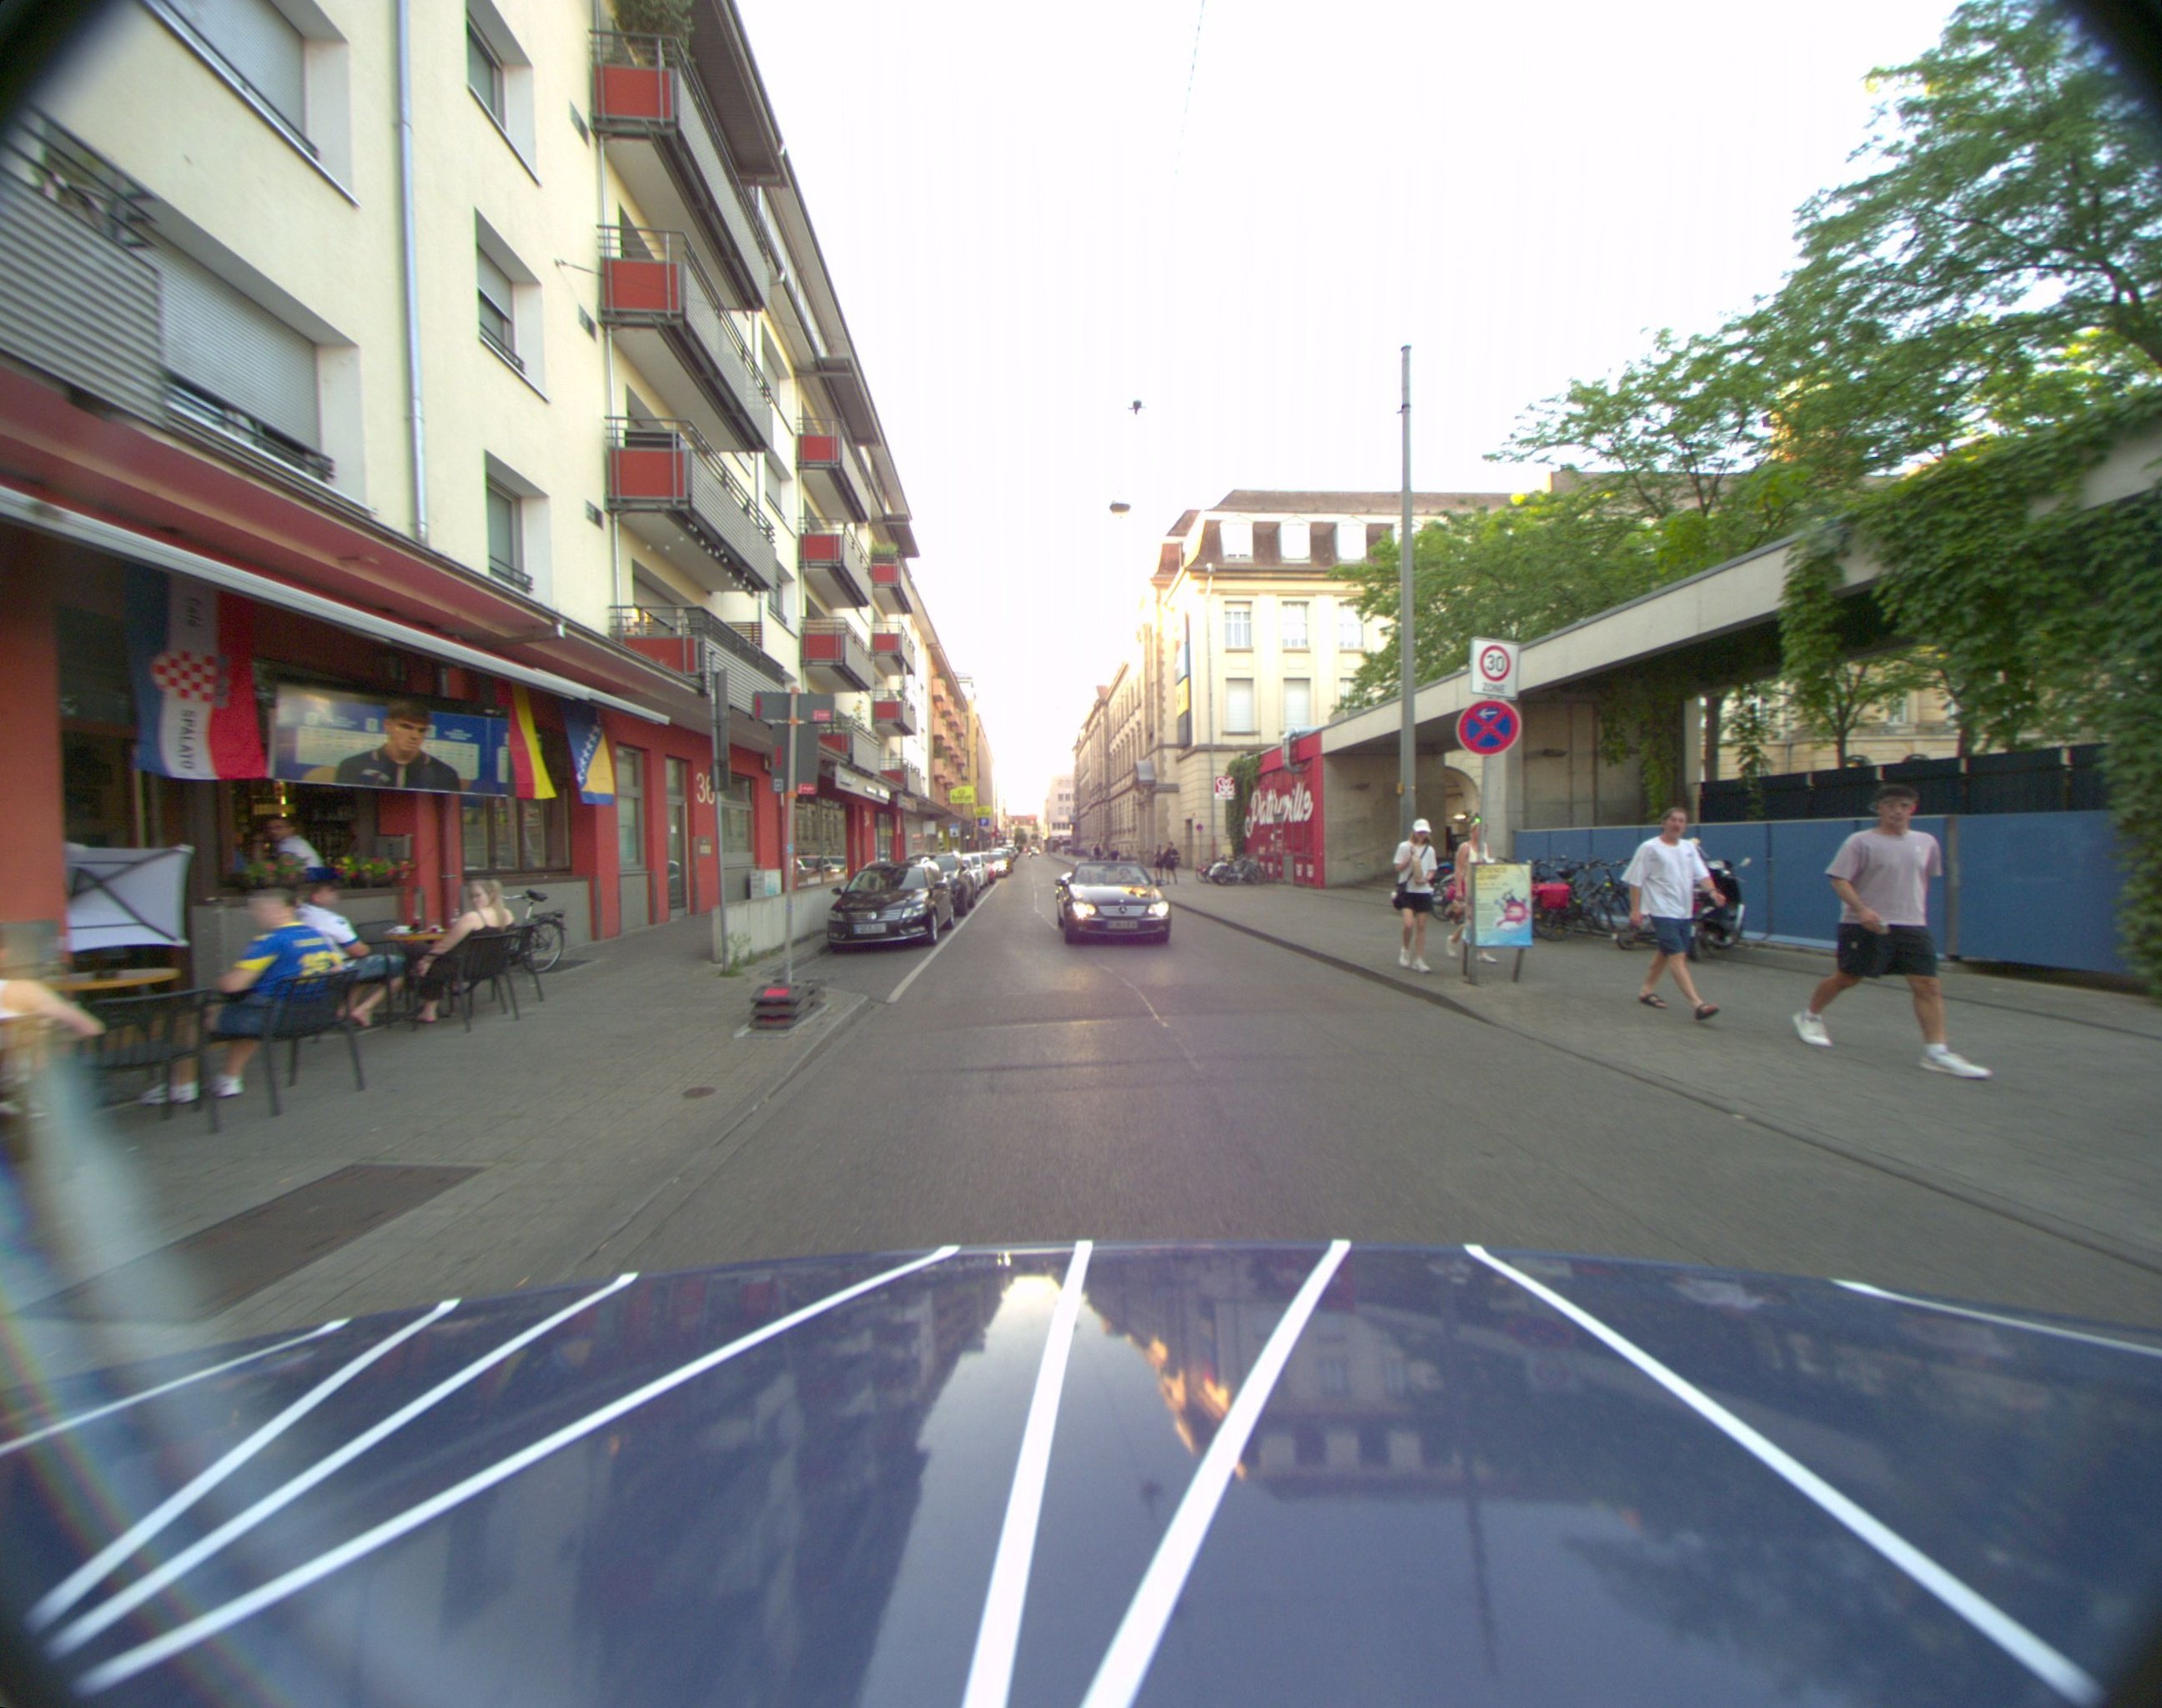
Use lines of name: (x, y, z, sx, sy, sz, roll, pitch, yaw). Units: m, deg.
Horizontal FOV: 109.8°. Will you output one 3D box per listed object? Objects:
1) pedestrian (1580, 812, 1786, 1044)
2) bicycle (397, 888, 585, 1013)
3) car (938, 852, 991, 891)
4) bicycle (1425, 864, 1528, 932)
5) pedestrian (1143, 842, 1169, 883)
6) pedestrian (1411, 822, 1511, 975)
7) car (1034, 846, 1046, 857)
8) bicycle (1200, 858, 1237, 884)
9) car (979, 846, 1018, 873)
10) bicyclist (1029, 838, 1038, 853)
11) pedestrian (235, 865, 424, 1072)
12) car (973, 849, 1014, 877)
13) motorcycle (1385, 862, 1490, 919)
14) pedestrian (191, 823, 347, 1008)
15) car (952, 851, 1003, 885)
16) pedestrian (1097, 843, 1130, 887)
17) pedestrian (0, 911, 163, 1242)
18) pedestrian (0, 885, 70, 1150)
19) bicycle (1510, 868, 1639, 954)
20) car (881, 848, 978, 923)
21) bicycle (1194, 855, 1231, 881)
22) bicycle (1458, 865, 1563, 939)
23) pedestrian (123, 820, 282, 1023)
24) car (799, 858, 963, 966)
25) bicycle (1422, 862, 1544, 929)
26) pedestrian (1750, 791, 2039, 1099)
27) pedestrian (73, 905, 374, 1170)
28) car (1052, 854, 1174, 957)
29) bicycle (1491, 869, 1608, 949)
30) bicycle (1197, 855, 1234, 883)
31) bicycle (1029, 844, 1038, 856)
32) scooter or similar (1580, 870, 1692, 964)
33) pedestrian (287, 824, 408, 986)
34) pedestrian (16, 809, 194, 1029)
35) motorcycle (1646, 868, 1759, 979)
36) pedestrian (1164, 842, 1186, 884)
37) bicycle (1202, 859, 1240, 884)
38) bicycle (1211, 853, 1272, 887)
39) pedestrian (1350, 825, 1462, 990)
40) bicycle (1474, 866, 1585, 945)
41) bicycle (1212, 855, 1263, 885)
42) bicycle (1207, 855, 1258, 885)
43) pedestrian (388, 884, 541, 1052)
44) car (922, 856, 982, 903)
pedestrian: (5.013, 0.576, 6.399, 0.984, 1.783, 0.890, -2, 1, -2)
bicycle: (-6.353, 0.980, 8.346, 0.550, 1.081, 2.004, -2, 1, -4)
car: (-4.828, 0.689, 31.994, 1.768, 1.468, 3.946, -2, 1, -3)
bicycle: (6.771, 0.748, 13.043, 1.496, 1.082, 0.436, -2, 1, 3)
pedestrian: (3.163, 0.355, 32.251, 0.921, 1.717, 0.702, -2, 1, -9)
pedestrian: (4.660, 0.525, 9.359, 0.812, 1.783, 0.736, -2, 1, -2)
car: (-7.856, -0.410, 145.452, 1.998, 2.002, 3.999, -1, 1, 1)
bicycle: (5.743, 0.703, 31.746, 1.501, 0.973, 0.312, -3, 1, -12)
car: (-5.360, 0.341, 49.815, 1.998, 1.607, 4.366, -2, 1, 1)
bicyclist: (-6.413, -1.146, 102.553, 1.045, 2.002, 1.182, -1, 2, -2)
pedestrian: (-6.108, 0.873, 6.241, 0.854, 1.527, 0.713, -3, 1, -26)
car: (-5.013, 0.496, 44.103, 1.897, 1.468, 4.299, -2, 1, -2)
motorcycle: (7.045, 0.720, 15.057, 1.824, 1.063, 0.534, -2, 1, 25)
pedestrian: (-7.947, 0.572, 7.473, 0.718, 1.711, 0.668, -2, 1, -5)
car: (-4.892, 0.618, 36.426, 1.867, 1.468, 4.393, -2, 1, -2)
pedestrian: (1.373, 0.446, 32.527, 1.009, 1.816, 0.944, -3, 1, -27)
pedestrian: (-4.887, 0.957, 3.398, 0.655, 1.337, 0.749, 1, 1, -6)
pedestrian: (-6.195, 0.899, 4.039, 0.714, 1.413, 0.602, -2, 1, -5)
bicycle: (6.949, 0.785, 10.721, 1.497, 1.082, 0.547, -3, 1, -7)
car: (-3.871, 0.727, 20.091, 1.884, 1.690, 4.135, -2, 1, -3)
bicycle: (5.620, 0.590, 32.402, 1.501, 1.070, 0.312, -3, 1, -12)
bicycle: (6.887, 0.762, 12.207, 1.497, 1.082, 0.410, -3, 1, -7)
pedestrian: (-7.862, 0.574, 6.831, 0.612, 1.729, 0.617, -2, 1, -5)
car: (-3.490, 0.914, 14.225, 1.879, 1.543, 4.629, -2, 1, -2)
bicycle: (7.168, 0.726, 13.584, 1.872, 1.081, 0.550, -2, 1, -2)
pedestrian: (5.447, 0.562, 5.161, 0.984, 1.873, 0.890, -2, 1, -2)
pedestrian: (-5.021, 0.999, 4.505, 0.876, 1.298, 0.854, 1, 2, 16)
car: (0.418, 0.762, 13.591, 1.809, 1.400, 4.615, 0, 2, -2)
bicycle: (6.890, 0.791, 11.183, 1.497, 1.063, 0.442, -3, 1, -7)
bicycle: (5.661, 0.626, 32.060, 1.501, 1.134, 0.312, -3, 1, -12)
bicycle: (-6.389, -0.581, 102.698, 1.038, 1.513, 2.821, -1, 1, 1)
scooter or similar: (7.169, 0.783, 9.806, 1.499, 1.082, 0.410, -3, 1, -21)
pedestrian: (-9.454, 0.627, 9.829, 0.669, 2.002, 0.815, -1, 1, 7)
pedestrian: (-8.293, 0.523, 6.490, 0.612, 1.767, 0.617, -2, 1, -7)
motorcycle: (7.403, 0.770, 9.020, 1.832, 1.120, 0.535, -3, 1, -35)
pedestrian: (3.876, 0.365, 31.437, 0.833, 1.717, 0.921, -1, 1, 5)
bicycle: (5.786, 0.703, 31.437, 1.501, 0.950, 0.312, -3, 1, -12)
bicycle: (6.066, 0.601, 28.706, 2.180, 1.149, 0.445, -2, 1, 2)
pedestrian: (3.736, 0.586, 8.800, 0.851, 1.783, 0.869, -2, 1, -2)
bicycle: (6.830, 0.768, 11.577, 1.497, 1.105, 0.410, -3, 1, -7)
bicycle: (5.979, 0.625, 29.070, 1.844, 1.077, 0.354, -2, 1, 2)
bicycle: (5.878, 0.636, 29.517, 1.844, 1.077, 0.354, -2, 1, 2)
pedestrian: (-5.313, 0.941, 6.611, 0.854, 1.271, 0.712, -1, 4, -26)
car: (-4.439, 0.829, 26.626, 1.753, 1.395, 3.964, -2, 1, -6)
